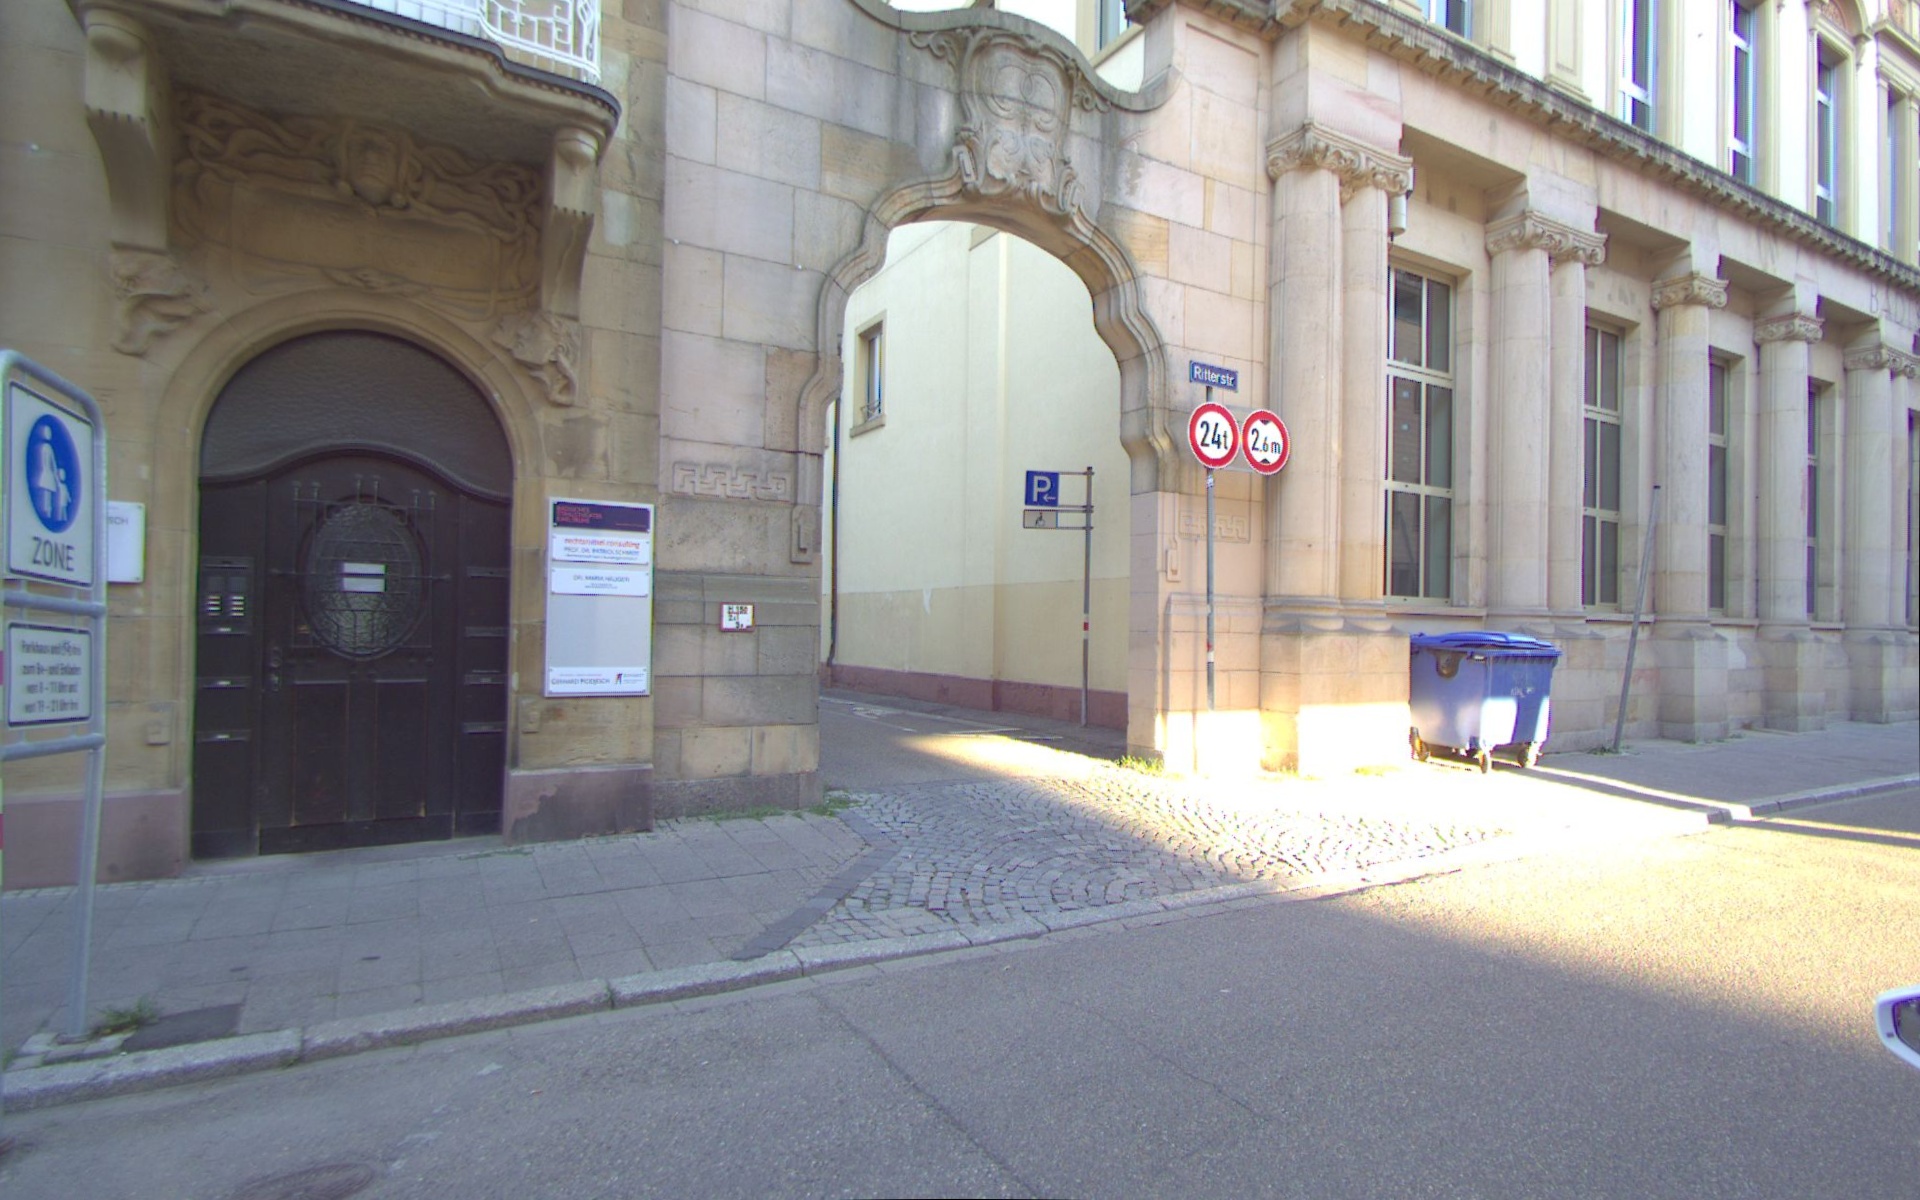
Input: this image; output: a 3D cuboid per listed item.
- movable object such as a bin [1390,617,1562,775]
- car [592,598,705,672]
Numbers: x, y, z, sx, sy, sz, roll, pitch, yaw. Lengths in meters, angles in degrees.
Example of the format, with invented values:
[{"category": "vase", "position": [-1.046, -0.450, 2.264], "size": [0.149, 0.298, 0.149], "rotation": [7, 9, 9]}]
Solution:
[{"category": "movable object such as a bin", "position": [5.313, 0.943, 10.376], "size": [1.171, 1.494, 1.070], "rotation": [2, 0, -26]}, {"category": "car", "position": [-8.661, 0.936, 27.720], "size": [1.842, 1.778, 4.125], "rotation": [6, -3, -32]}]
